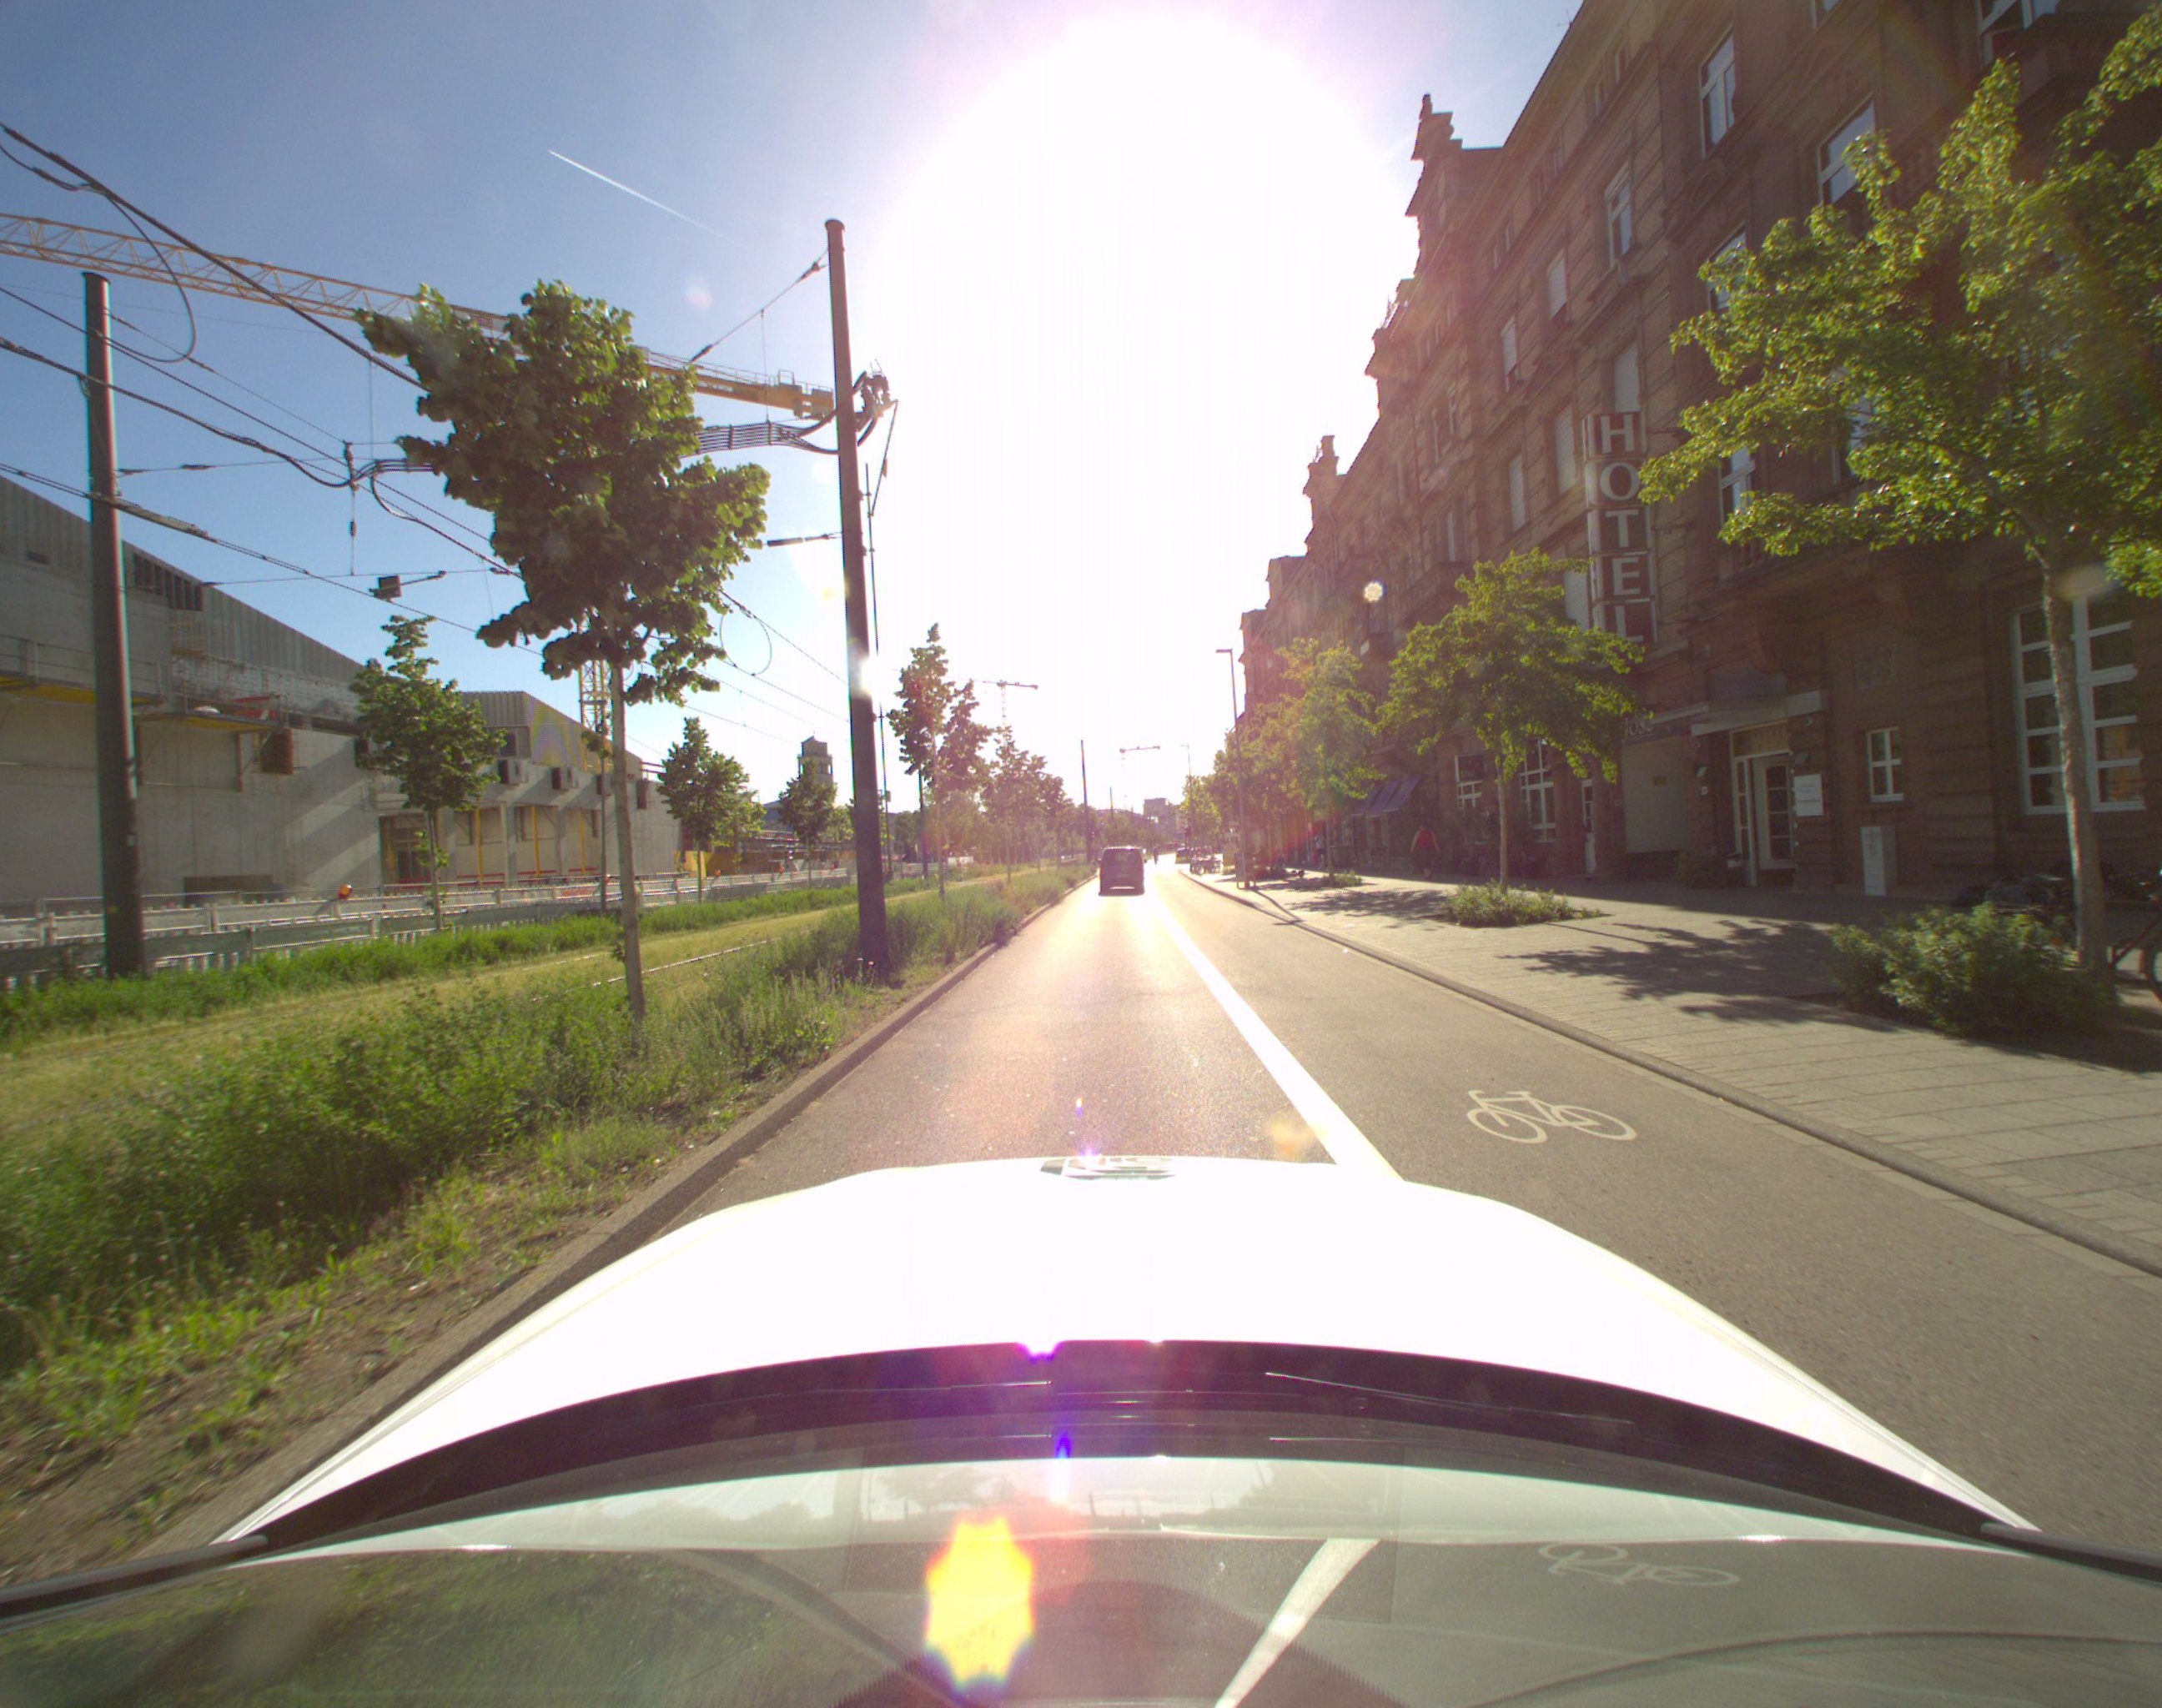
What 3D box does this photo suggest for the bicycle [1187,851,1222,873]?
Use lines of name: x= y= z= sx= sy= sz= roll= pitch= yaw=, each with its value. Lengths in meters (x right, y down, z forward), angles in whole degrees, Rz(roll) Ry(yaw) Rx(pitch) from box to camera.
bicycle: x=7.495 y=0.492 z=49.649 sx=1.912 sy=1.121 sz=0.664 roll=-6 pitch=-1 yaw=-4

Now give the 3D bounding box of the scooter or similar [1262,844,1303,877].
scooter or similar: x=8.337 y=0.282 z=33.729 sx=1.473 sy=1.216 sz=0.600 roll=-5 pitch=1 yaw=-9

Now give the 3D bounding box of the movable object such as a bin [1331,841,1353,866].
movable object such as a bin: x=12.247 y=-0.024 z=38.229 sx=0.723 sy=1.097 sz=0.747 roll=-3 pitch=0 yaw=-3

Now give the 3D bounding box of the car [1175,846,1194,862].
car: x=11.262 y=0.023 z=88.706 sx=1.978 sy=1.638 sz=4.198 roll=-2 pitch=-1 yaw=7

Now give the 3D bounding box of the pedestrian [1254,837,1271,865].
pedestrian: x=11.797 y=-0.182 z=53.033 sx=0.841 sy=1.742 sz=0.887 roll=-4 pitch=-1 yaw=3

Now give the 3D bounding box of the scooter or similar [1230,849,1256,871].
scooter or similar: x=8.694 y=0.316 z=43.709 sx=1.214 sy=1.106 sz=0.784 roll=-5 pitch=0 yaw=4

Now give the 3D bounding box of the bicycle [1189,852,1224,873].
bicycle: x=7.419 y=0.504 z=48.134 sx=1.821 sy=1.078 sz=0.664 roll=-6 pitch=-1 yaw=-4

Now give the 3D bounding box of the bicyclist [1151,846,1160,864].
bicyclist: x=6.876 y=0.112 z=75.073 sx=0.680 sy=1.584 sz=0.840 roll=-3 pitch=0 yaw=2

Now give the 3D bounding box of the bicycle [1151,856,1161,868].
bicycle: x=6.905 y=0.712 z=75.081 sx=0.698 sy=1.091 sz=2.278 roll=-3 pitch=0 yaw=2

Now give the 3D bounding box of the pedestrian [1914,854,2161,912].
pedestrian: x=11.325 y=0.307 z=9.701 sx=0.770 sy=0.553 sz=2.008 roll=-4 pitch=0 yaw=2

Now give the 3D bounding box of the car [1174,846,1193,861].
car: x=11.960 y=-0.044 z=95.009 sx=2.010 sy=1.722 sz=4.127 roll=-2 pitch=-1 yaw=7

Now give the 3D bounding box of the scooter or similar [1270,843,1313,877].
scooter or similar: x=8.516 y=0.230 z=32.961 sx=1.470 sy=1.216 sz=0.601 roll=-5 pitch=1 yaw=-2

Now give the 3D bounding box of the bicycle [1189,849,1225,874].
bicycle: x=7.224 y=0.445 z=46.603 sx=1.875 sy=1.233 sz=0.499 roll=-6 pitch=-1 yaw=-4

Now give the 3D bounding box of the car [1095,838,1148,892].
car: x=1.724 y=0.432 z=33.490 sx=1.984 sy=2.014 sz=4.005 roll=-2 pitch=-1 yaw=4

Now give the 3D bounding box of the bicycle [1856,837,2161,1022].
bicycle: x=6.979 y=0.475 z=5.813 sx=0.649 sy=1.120 sz=2.169 roll=-5 pitch=-1 yaw=-3

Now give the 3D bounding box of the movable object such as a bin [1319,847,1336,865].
movable object such as a bin: x=12.567 y=0.095 z=41.523 sx=0.602 sy=0.916 sz=0.650 roll=-3 pitch=0 yaw=-2

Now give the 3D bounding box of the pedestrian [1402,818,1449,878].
pedestrian: x=10.306 y=-0.162 z=24.422 sx=0.992 sy=1.731 sz=0.866 roll=-2 pitch=-1 yaw=1

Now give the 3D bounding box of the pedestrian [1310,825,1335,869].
pedestrian: x=11.453 y=-0.331 z=38.604 sx=0.814 sy=2.014 sz=1.046 roll=-2 pitch=-3 yaw=2

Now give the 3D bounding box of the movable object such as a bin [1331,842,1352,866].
movable object such as a bin: x=12.468 y=-0.014 z=38.992 sx=0.723 sy=1.097 sz=0.747 roll=-3 pitch=0 yaw=-3
